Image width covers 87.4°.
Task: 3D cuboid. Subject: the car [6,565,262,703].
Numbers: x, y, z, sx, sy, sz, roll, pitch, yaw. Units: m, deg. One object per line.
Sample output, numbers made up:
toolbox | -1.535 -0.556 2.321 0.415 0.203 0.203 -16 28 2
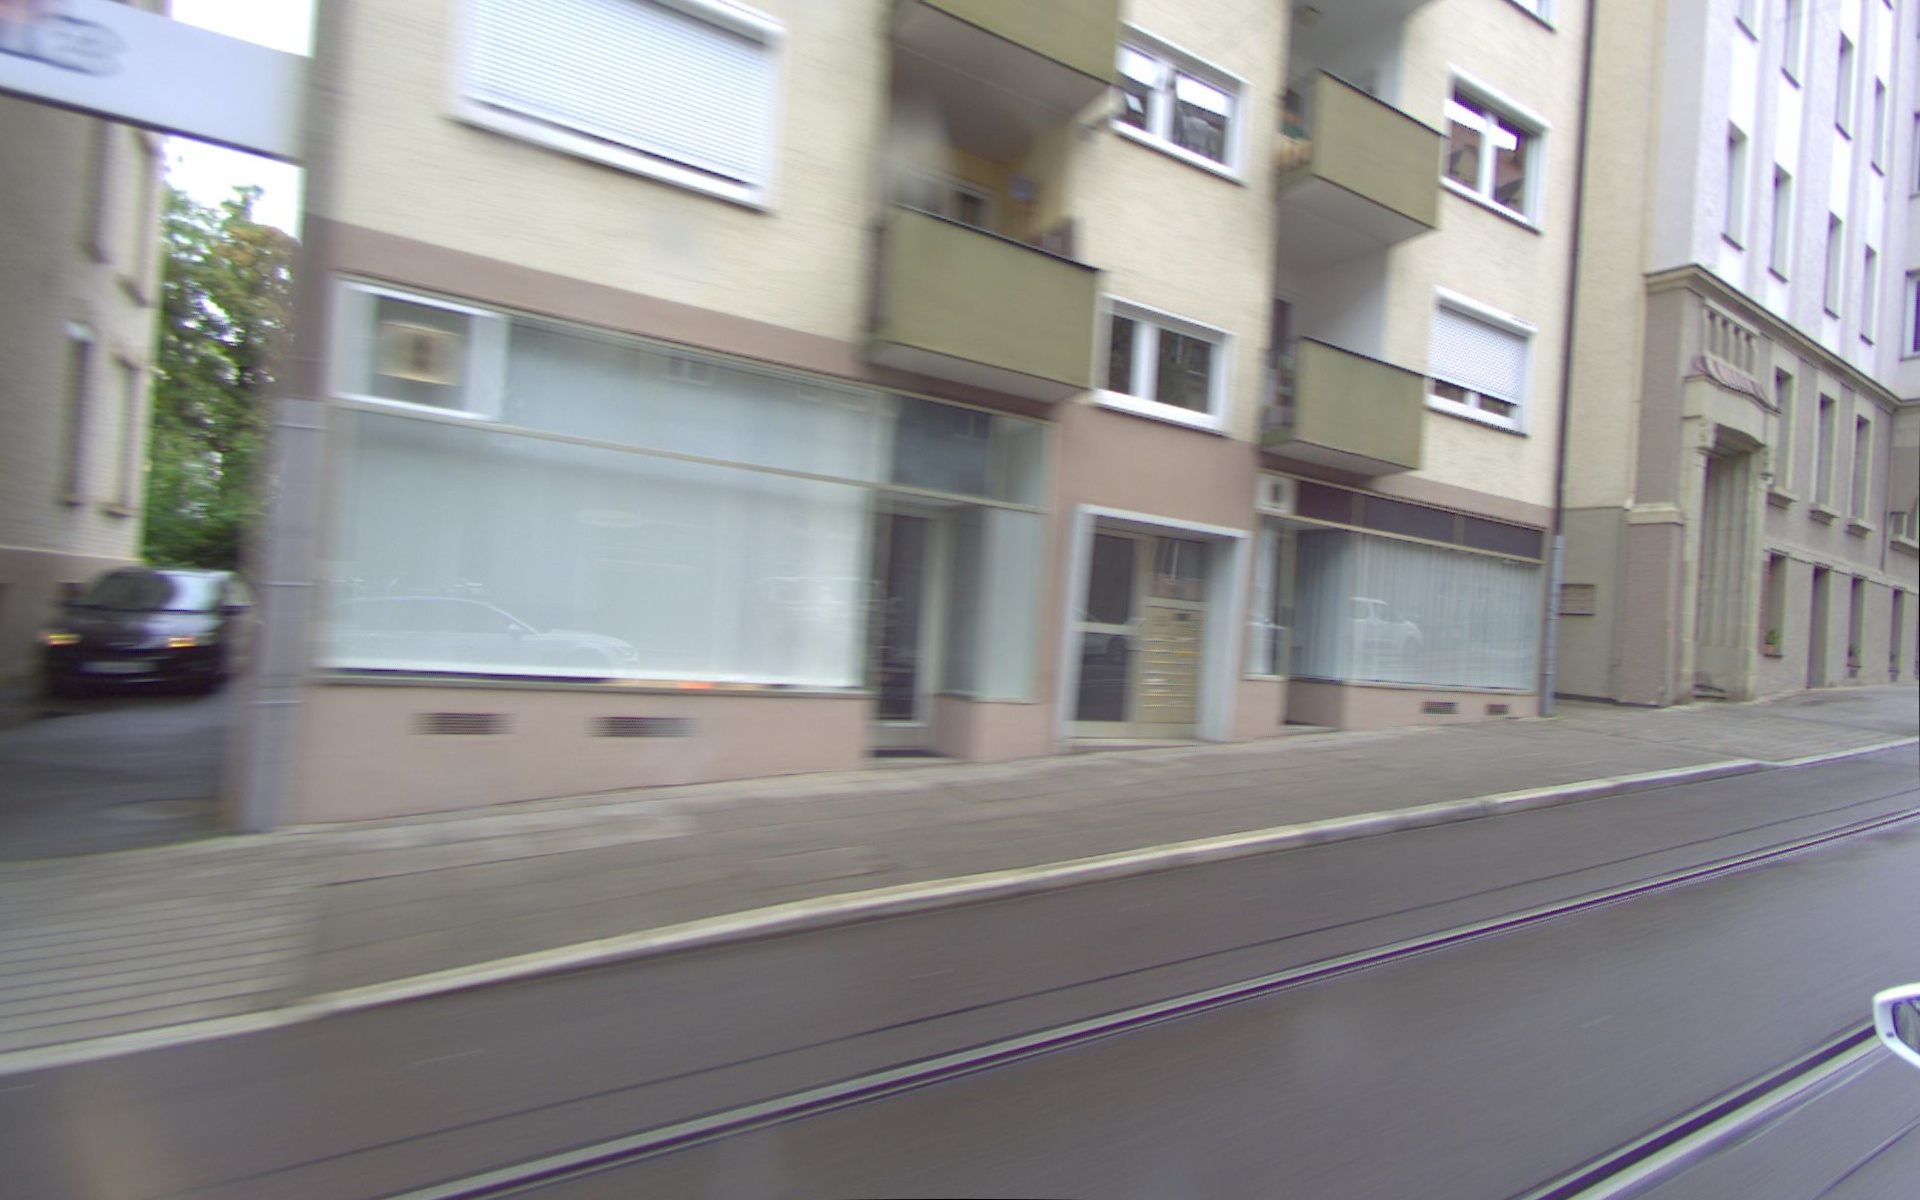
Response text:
car | -10.268 0.337 12.820 1.719 1.473 3.971 1 1 -28
